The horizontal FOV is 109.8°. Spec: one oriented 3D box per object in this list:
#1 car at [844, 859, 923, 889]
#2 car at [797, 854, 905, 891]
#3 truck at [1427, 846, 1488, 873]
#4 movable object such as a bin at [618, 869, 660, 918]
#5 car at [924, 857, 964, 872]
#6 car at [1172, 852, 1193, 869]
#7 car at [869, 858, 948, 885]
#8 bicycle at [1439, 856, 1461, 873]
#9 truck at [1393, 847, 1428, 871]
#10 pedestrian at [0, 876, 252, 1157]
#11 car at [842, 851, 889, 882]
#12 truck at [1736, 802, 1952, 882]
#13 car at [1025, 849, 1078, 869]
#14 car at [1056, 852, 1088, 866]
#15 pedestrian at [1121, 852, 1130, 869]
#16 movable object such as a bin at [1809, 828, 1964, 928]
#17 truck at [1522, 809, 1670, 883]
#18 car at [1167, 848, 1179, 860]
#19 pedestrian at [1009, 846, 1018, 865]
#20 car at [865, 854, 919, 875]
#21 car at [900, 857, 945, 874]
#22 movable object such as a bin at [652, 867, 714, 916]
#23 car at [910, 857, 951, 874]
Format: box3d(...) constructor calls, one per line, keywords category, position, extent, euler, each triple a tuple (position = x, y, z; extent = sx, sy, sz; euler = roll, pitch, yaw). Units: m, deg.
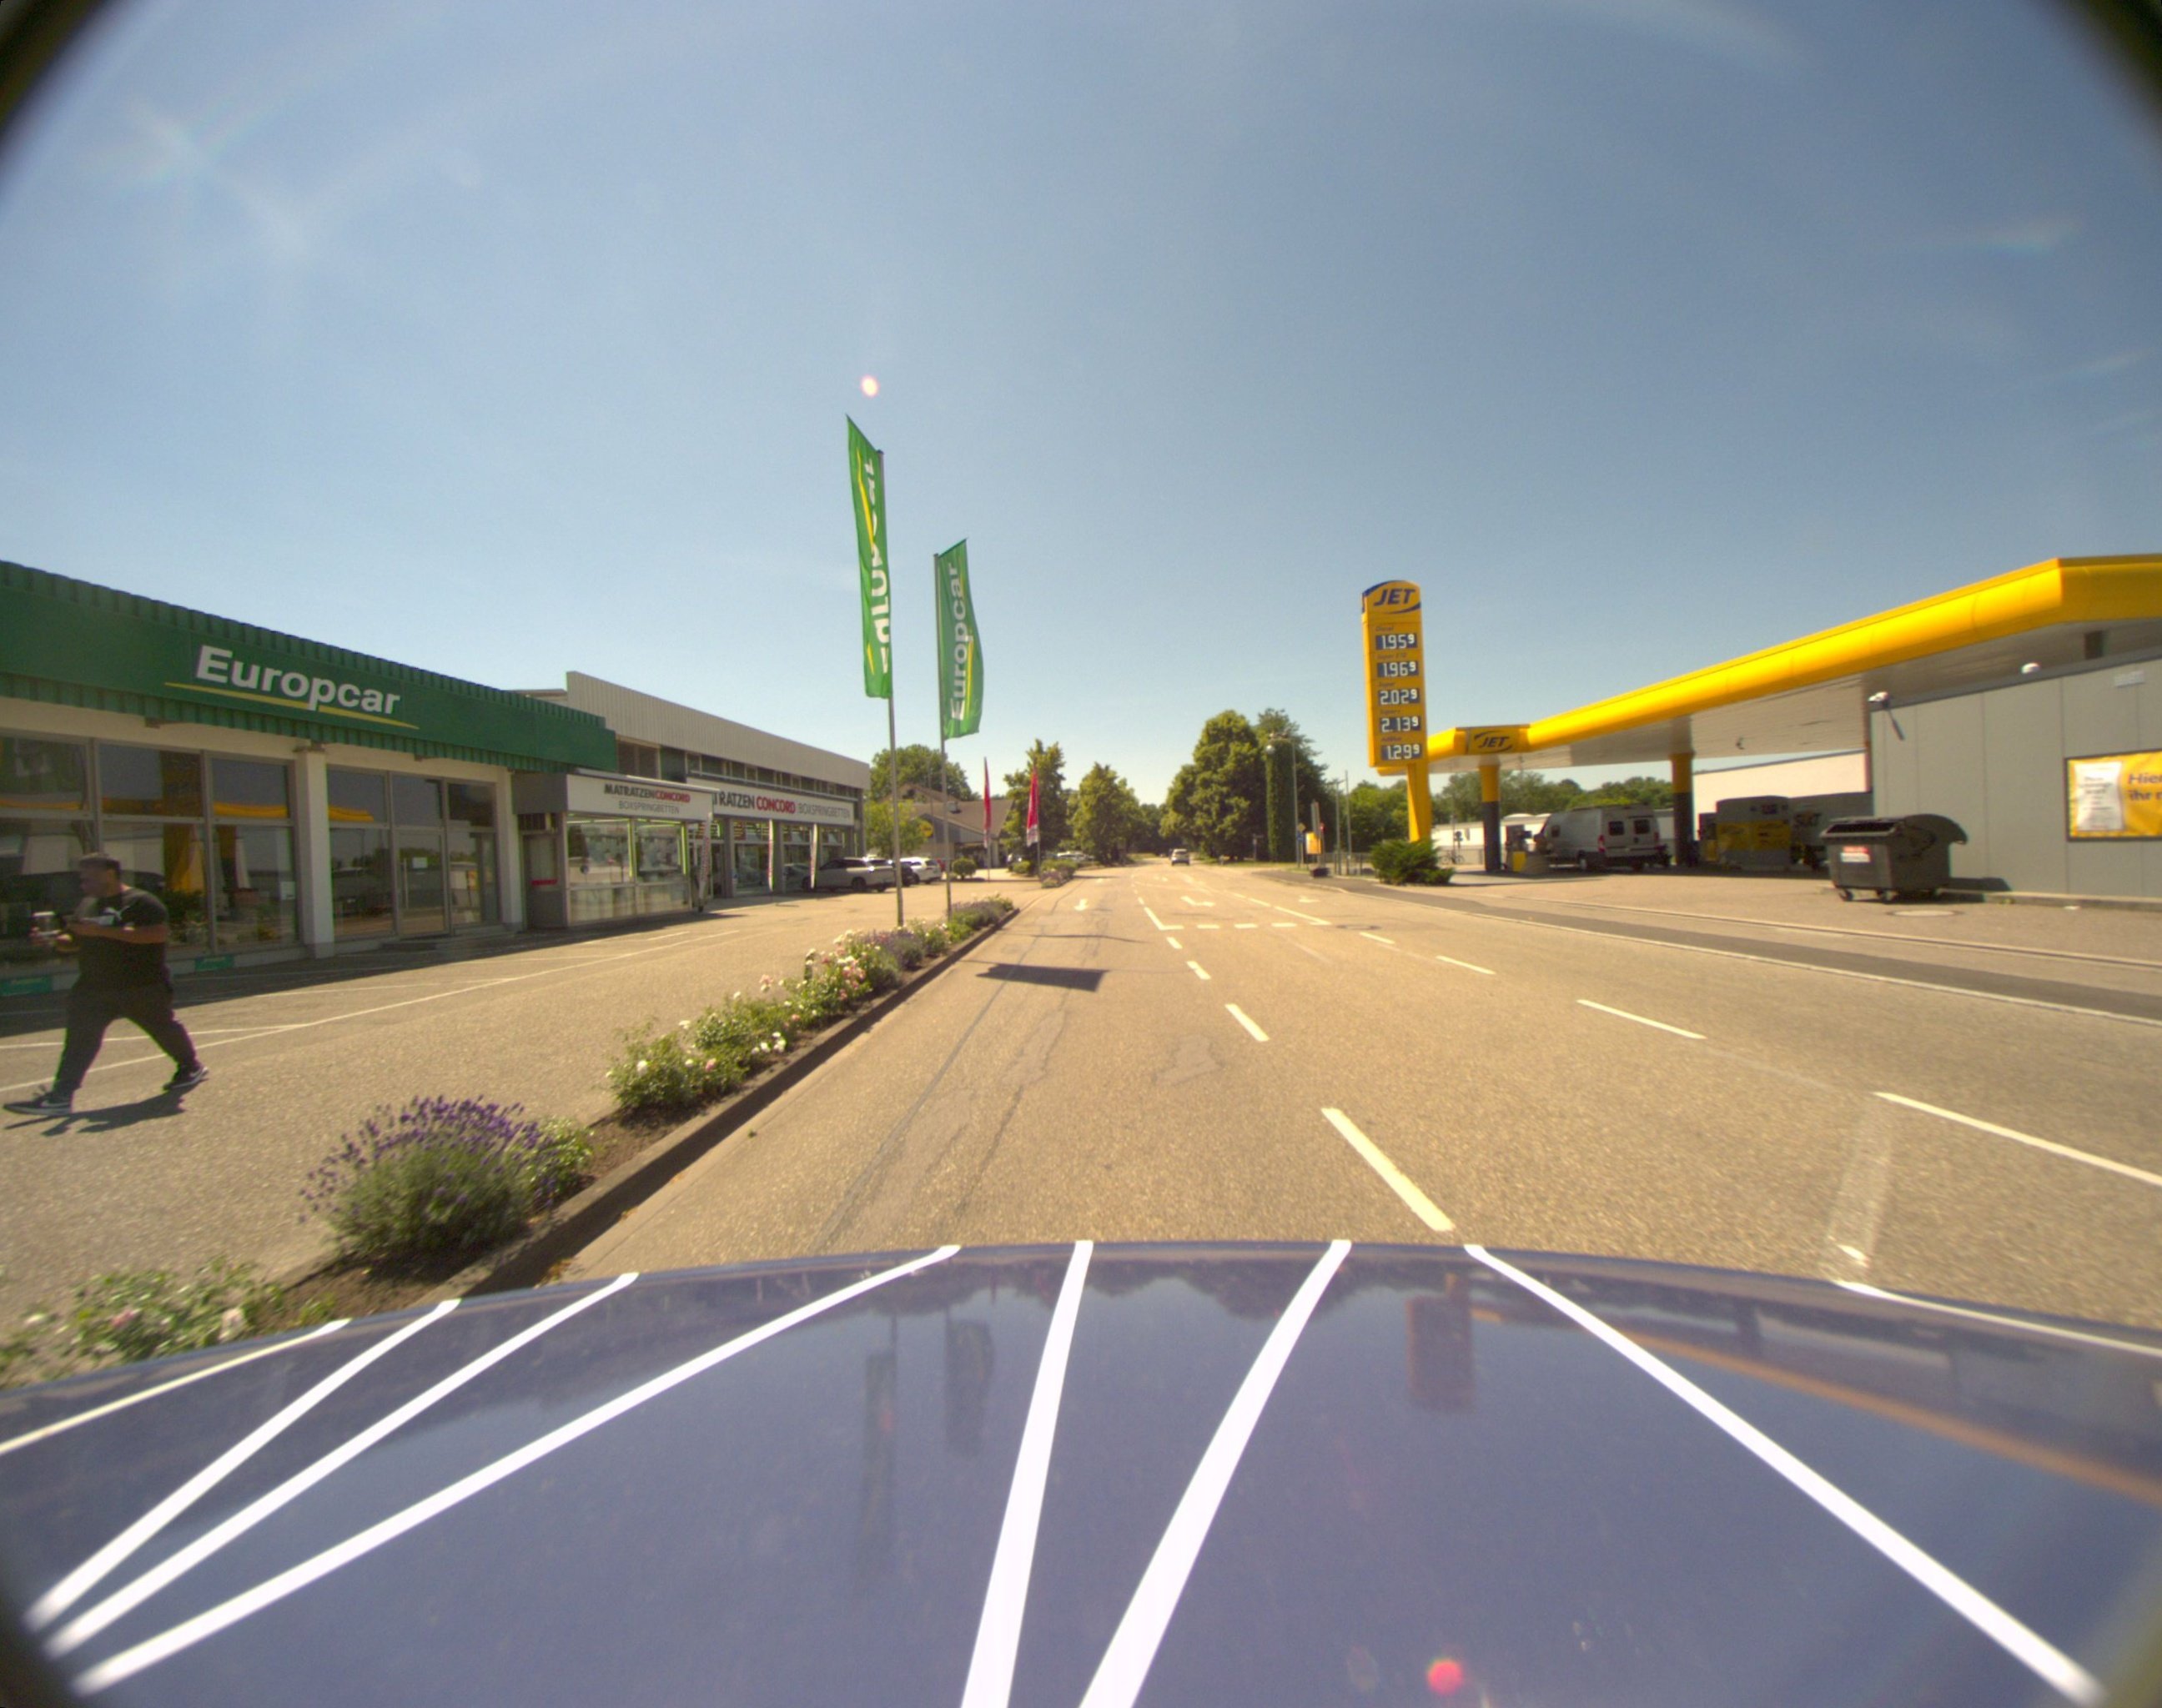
box3d(category="car", position=(-10.769, 1.084, 41.460), extent=(3.858, 1.524, 1.680), euler=(-1, 1, 19))
box3d(category="car", position=(-10.981, 0.870, 36.340), extent=(4.586, 1.632, 2.003), euler=(-1, 1, 20))
box3d(category="truck", position=(43.068, 0.633, 87.391), extent=(2.691, 2.780, 10.162), euler=(-2, 0, 5))
box3d(category="movable object such as a bin", position=(-13.618, 1.202, 23.404), extent=(0.854, 1.437, 0.702), euler=(1, 1, 8))
box3d(category="car", position=(-13.839, 1.055, 76.870), extent=(3.604, 1.408, 1.672), euler=(-2, 0, 6))
box3d(category="car", position=(10.396, 0.659, 78.283), extent=(1.973, 1.662, 4.250), euler=(-1, 0, 6))
box3d(category="car", position=(-9.950, 0.988, 43.877), extent=(3.992, 1.452, 1.807), euler=(-1, 1, 17))
box3d(category="bicycle", position=(30.164, 0.838, 62.135), extent=(1.539, 1.341, 0.395), euler=(0, 1, 12))
box3d(category="truck", position=(42.354, 0.575, 97.906), extent=(2.437, 2.911, 8.171), euler=(-2, 0, 12))
box3d(category="pedestrian", position=(-6.506, 0.987, 5.034), extent=(0.842, 1.632, 1.010), euler=(-1, 1, 5))
box3d(category="car", position=(-14.434, 0.790, 51.093), extent=(1.709, 1.879, 4.257), euler=(-1, 1, 2))
box3d(category="truck", position=(27.799, -0.427, 28.183), extent=(2.921, 2.583, 6.608), euler=(-1, 1, 17))
box3d(category="car", position=(-2.648, 0.452, 69.832), extent=(4.522, 1.658, 1.895), euler=(-2, 0, 10))
box3d(category="car", position=(-0.943, 0.552, 82.340), extent=(3.405, 1.497, 1.582), euler=(-1, 0, 2))
box3d(category="pedestrian", position=(4.516, 0.656, 77.205), extent=(0.730, 1.779, 0.621), euler=(-1, 1, 14))
box3d(category="movable object such as a bin", position=(13.482, 0.395, 12.792), extent=(0.954, 1.508, 1.428), euler=(-6, -1, 2))
box3d(category="truck", position=(20.341, -0.313, 30.483), extent=(2.237, 2.583, 6.736), euler=(-1, 1, 9))
box3d(category="car", position=(15.914, 0.046, 131.966), extent=(1.799, 1.761, 4.369), euler=(4, -3, 5))
box3d(category="pedestrian", position=(-7.121, 0.133, 80.663), extent=(0.784, 2.002, 0.803), euler=(-1, 1, 4))
box3d(category="car", position=(-16.048, 0.876, 64.529), extent=(4.029, 1.554, 1.808), euler=(-3, 1, 4))
box3d(category="car", position=(-15.032, 1.109, 72.267), extent=(3.730, 1.495, 1.819), euler=(-2, 0, 6))
box3d(category="movable object such as a bin", position=(-12.126, 1.127, 23.169), extent=(1.566, 1.414, 0.702), euler=(1, 1, 8))
box3d(category="car", position=(-14.756, 1.123, 74.595), extent=(3.604, 1.449, 1.746), euler=(-2, 0, 6))
